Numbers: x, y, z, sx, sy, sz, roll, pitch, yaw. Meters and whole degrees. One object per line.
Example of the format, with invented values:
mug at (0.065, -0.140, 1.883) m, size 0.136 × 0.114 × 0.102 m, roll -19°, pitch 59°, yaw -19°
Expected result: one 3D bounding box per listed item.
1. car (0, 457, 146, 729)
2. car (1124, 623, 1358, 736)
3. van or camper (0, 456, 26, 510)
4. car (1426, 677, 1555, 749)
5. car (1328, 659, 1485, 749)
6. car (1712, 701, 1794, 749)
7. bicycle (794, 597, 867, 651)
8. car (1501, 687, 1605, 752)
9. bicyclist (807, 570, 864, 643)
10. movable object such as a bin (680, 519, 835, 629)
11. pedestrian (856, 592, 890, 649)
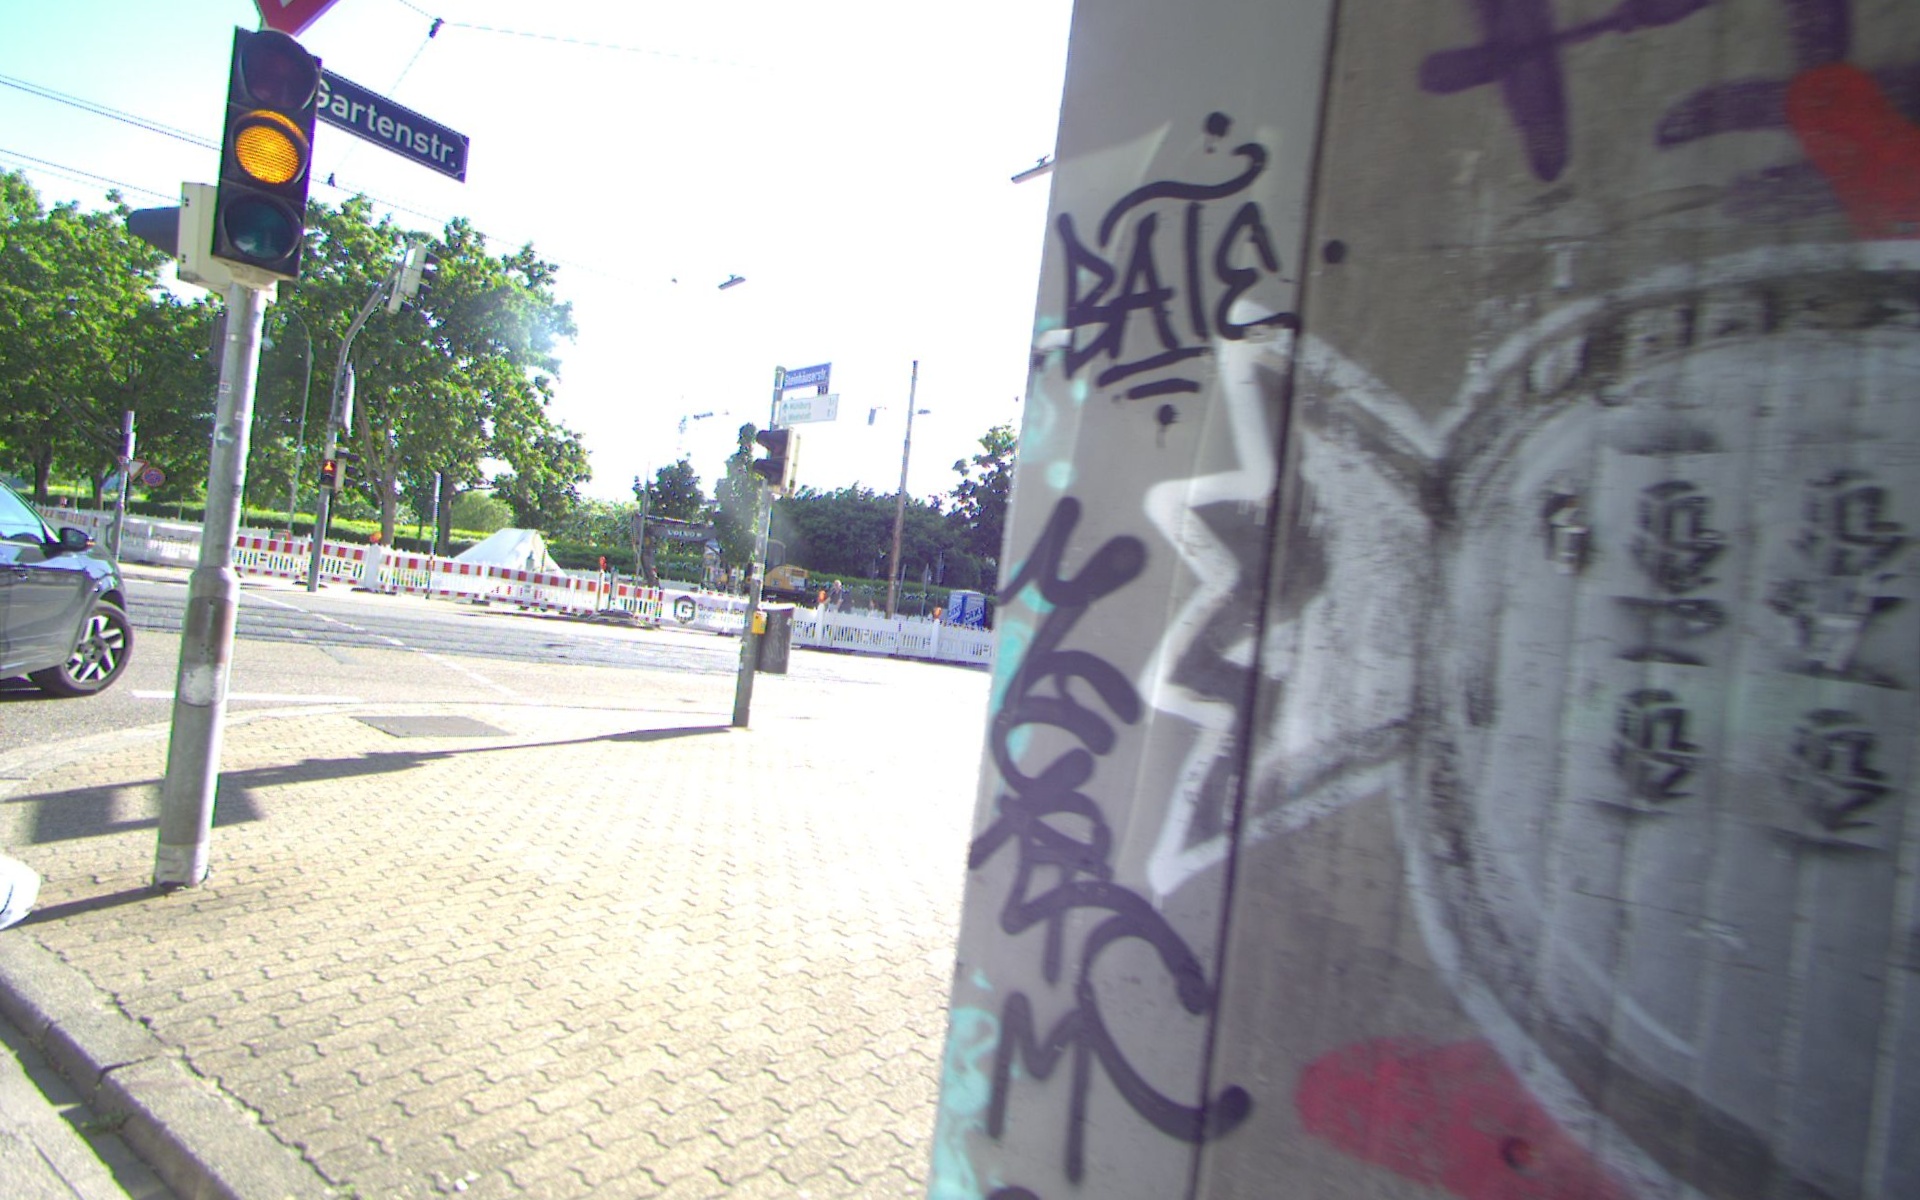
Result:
car at (-6.246, -0.141, 5.477) m, size 1.765 × 1.535 × 3.734 m, roll 8°, pitch -1°, yaw -24°
car at (5.264, 1.504, 18.604) m, size 4.288 × 1.640 × 1.915 m, roll 7°, pitch 0°, yaw -39°
van or camper at (-57.699, -7.039, 57.509) m, size 2.540 × 2.967 × 6.064 m, roll 6°, pitch 1°, yaw 42°
car at (13.261, 2.834, 25.087) m, size 3.269 × 1.424 × 1.646 m, roll 7°, pitch 1°, yaw -41°
car at (9.667, 2.262, 21.685) m, size 3.483 × 1.551 × 1.636 m, roll 7°, pitch 1°, yaw -42°
car at (32.278, 5.104, 40.913) m, size 3.510 × 1.567 × 1.789 m, roll 7°, pitch 1°, yaw -40°
bicycle at (-3.571, 0.670, 27.722) m, size 1.767 × 1.282 × 0.648 m, roll 7°, pitch 1°, yaw -35°
car at (16.713, 3.366, 28.308) m, size 3.347 × 1.479 × 1.466 m, roll 7°, pitch 1°, yaw -43°
bicyclist at (-3.444, 0.170, 27.781) m, size 1.085 × 1.853 × 0.906 m, roll 6°, pitch 1°, yaw -34°
movable object such as a bin at (-7.623, -0.941, 38.144) m, size 2.796 × 3.403 × 4.690 m, roll 6°, pitch -2°, yaw 42°
pedestrian at (-2.621, 0.607, 30.228) m, size 0.633 × 1.620 × 0.630 m, roll 7°, pitch 0°, yaw -33°
